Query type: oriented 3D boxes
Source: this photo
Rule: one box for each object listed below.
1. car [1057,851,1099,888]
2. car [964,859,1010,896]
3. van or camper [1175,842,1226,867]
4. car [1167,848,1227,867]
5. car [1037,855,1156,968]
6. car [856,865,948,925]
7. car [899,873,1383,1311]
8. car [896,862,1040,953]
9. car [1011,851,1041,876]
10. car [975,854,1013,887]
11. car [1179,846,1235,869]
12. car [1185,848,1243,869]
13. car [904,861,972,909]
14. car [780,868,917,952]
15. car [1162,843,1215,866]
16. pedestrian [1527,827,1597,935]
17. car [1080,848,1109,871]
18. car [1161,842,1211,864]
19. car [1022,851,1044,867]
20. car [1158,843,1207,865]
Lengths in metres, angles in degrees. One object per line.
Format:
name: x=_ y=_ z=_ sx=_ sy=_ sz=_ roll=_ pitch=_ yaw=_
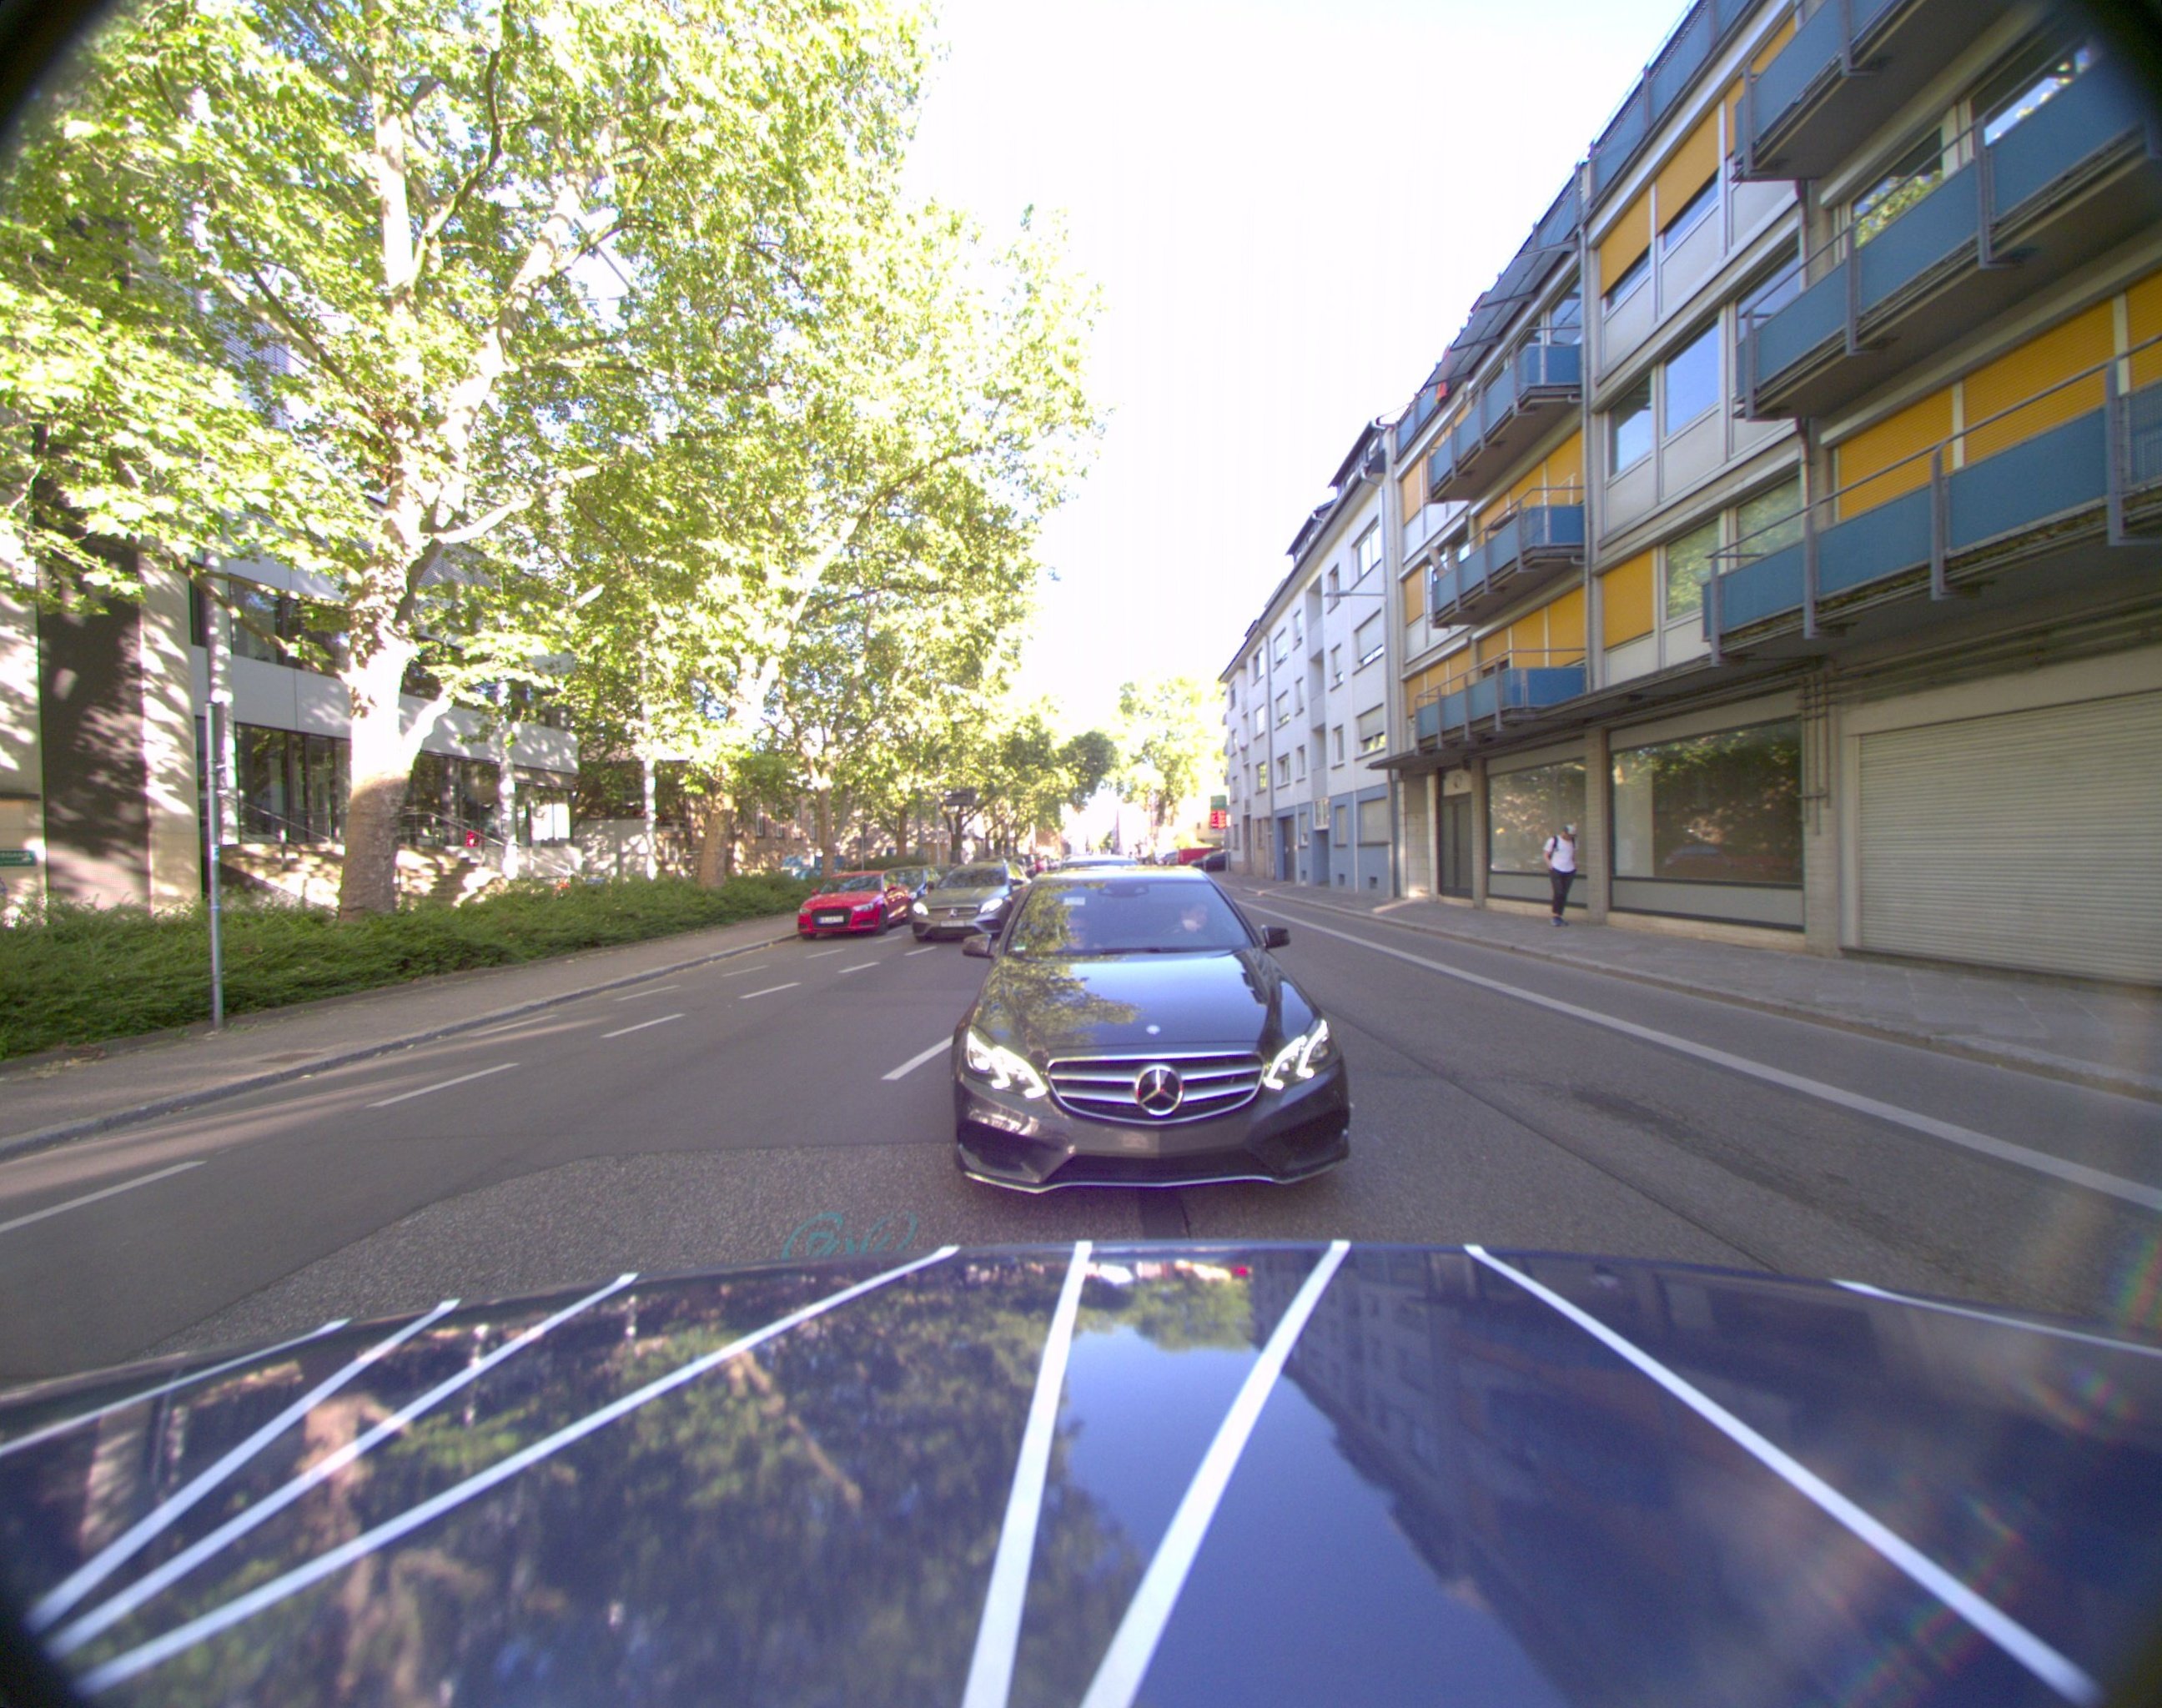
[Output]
car: x=-0.096 y=0.699 z=35.627 sx=1.705 sy=1.593 sz=3.860 roll=-1 pitch=0 yaw=3
car: x=-4.570 y=1.104 z=37.422 sx=1.741 sy=1.622 sz=4.091 roll=-2 pitch=0 yaw=0
van or camper: x=10.052 y=0.025 z=64.192 sx=3.997 sy=2.002 sz=2.000 roll=-2 pitch=1 yaw=0
car: x=10.154 y=0.285 z=66.695 sx=4.990 sy=1.486 sz=2.000 roll=-2 pitch=0 yaw=1
car: x=0.258 y=0.848 z=13.411 sx=1.646 sy=1.520 sz=4.619 roll=-4 pitch=0 yaw=1
car: x=-5.245 y=1.144 z=22.792 sx=1.741 sy=1.444 sz=4.091 roll=-4 pitch=0 yaw=0
car: x=0.218 y=0.923 z=4.719 sx=1.740 sy=1.448 sz=3.864 roll=-1 pitch=0 yaw=0
car: x=-2.175 y=1.007 z=16.103 sx=1.917 sy=1.456 sz=4.670 roll=-4 pitch=0 yaw=5
car: x=-4.285 y=0.720 z=59.740 sx=1.992 sy=1.795 sz=4.376 roll=-2 pitch=0 yaw=0
car: x=-4.763 y=0.889 z=42.132 sx=1.634 sy=1.677 sz=3.907 roll=-2 pitch=0 yaw=0
car: x=10.130 y=0.270 z=61.285 sx=4.146 sy=1.681 sz=2.000 roll=-2 pitch=0 yaw=1
car: x=10.307 y=0.325 z=58.954 sx=4.146 sy=1.486 sz=2.000 roll=-2 pitch=0 yaw=1
car: x=-5.166 y=1.077 z=27.905 sx=1.681 sy=1.484 sz=3.918 roll=-4 pitch=0 yaw=0
car: x=-5.213 y=1.174 z=17.628 sx=1.830 sy=1.519 sz=4.142 roll=-4 pitch=0 yaw=0
car: x=10.906 y=0.026 z=77.332 sx=4.990 sy=2.181 sz=2.000 roll=-2 pitch=1 yaw=1
pedestrian: x=8.378 y=0.452 z=13.264 sx=0.600 sy=1.790 sz=0.879 roll=-3 pitch=1 yaw=2
car: x=1.207 y=0.403 z=64.521 sx=1.784 sy=1.760 sz=4.387 roll=-4 pitch=0 yaw=9
car: x=11.026 y=-0.101 z=80.184 sx=4.990 sy=2.181 sz=2.000 roll=-2 pitch=1 yaw=1
car: x=-4.391 y=0.435 z=70.438 sx=1.741 sy=1.469 sz=4.091 roll=-2 pitch=0 yaw=0
car: x=11.030 y=-0.008 z=82.815 sx=4.990 sy=2.181 sz=2.000 roll=-2 pitch=1 yaw=1
